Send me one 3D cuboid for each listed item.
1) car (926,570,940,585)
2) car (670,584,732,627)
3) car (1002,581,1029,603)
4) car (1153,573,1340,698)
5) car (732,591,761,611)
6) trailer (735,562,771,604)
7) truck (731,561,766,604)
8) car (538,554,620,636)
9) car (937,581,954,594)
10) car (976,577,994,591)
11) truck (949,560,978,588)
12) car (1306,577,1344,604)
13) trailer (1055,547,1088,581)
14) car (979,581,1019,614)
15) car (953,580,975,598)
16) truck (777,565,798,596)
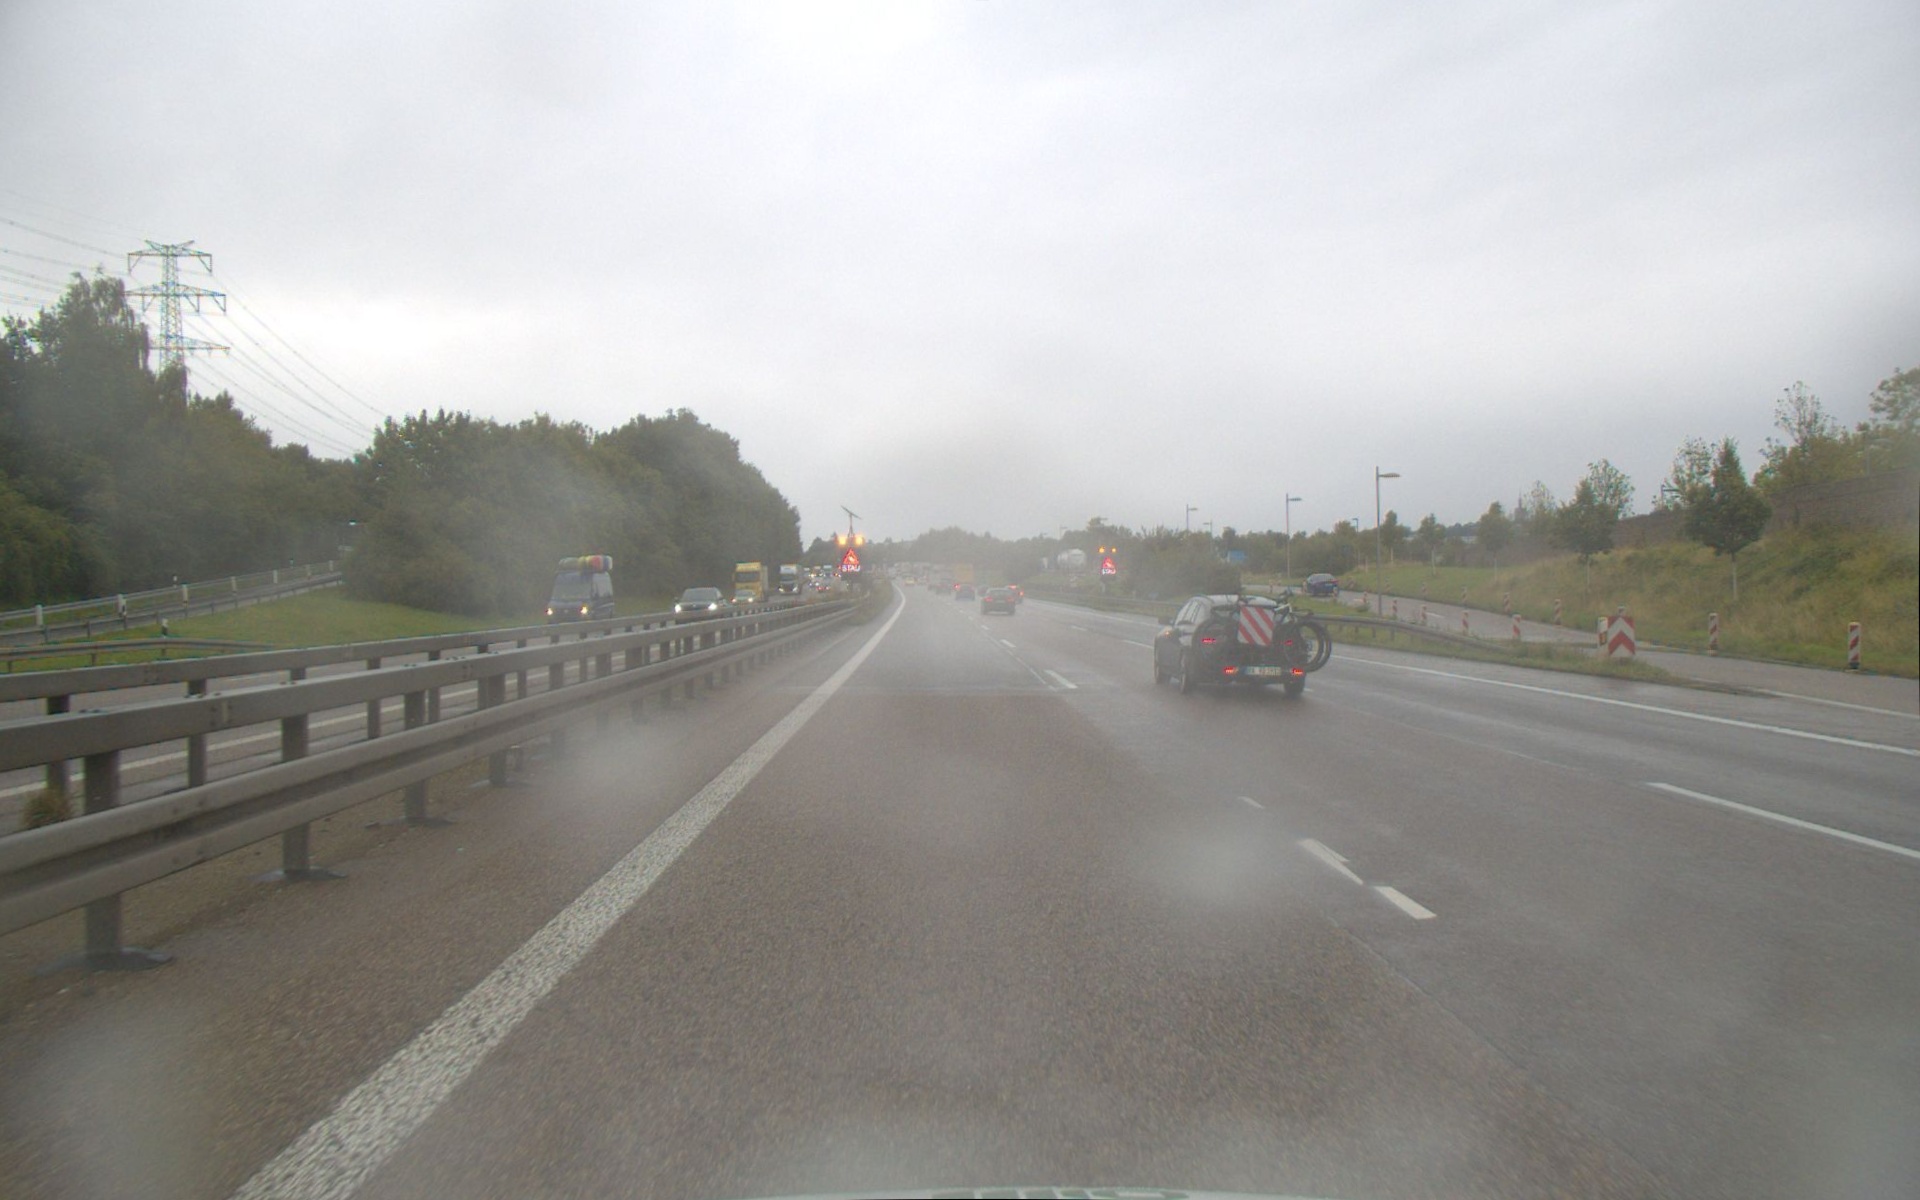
[{"bbox_3d":[-4.141,-3.437,254.196,1.953,2.243,3.999,-1,1,-2],"label":"car"},{"bbox_3d":[-10.714,0.199,68.705,1.885,1.685,4.789,-2,0,-1],"label":"car"},{"bbox_3d":[4.682,-0.691,140.065,1.953,1.791,3.999,-1,1,-2],"label":"car"},{"bbox_3d":[4.249,0.503,25.439,2.015,1.700,5.522,0,0,1],"label":"car"},{"bbox_3d":[-17.108,0.060,132.859,1.837,1.519,4.513,-2,1,-2],"label":"car"},{"bbox_3d":[-21.282,-1.792,170.637,2.706,4.126,9.197,-2,1,-2],"label":"trailer"},{"bbox_3d":[-21.094,-1.739,165.354,2.706,4.126,6.155,-2,1,-2],"label":"truck"},{"bbox_3d":[-16.743,-0.229,73.063,2.208,3.385,6.174,-2,0,-1],"label":"car"},{"bbox_3d":[-1.806,-1.548,203.655,1.953,1.657,3.999,-1,1,-2],"label":"car"},{"bbox_3d":[3.072,-1.932,203.076,1.953,1.657,3.999,-1,1,-2],"label":"car"},{"bbox_3d":[0.429,-3.961,249.907,3.845,4.051,12.235,-1,1,-2],"label":"truck"},{"bbox_3d":[24.276,-0.639,110.042,1.882,1.739,4.002,-1,0,5],"label":"car"},{"bbox_3d":[14.722,-4.725,218.674,2.925,4.228,12.951,-1,1,-2],"label":"trailer"},{"bbox_3d":[2.140,-0.159,92.080,1.953,1.791,3.999,-1,1,-2],"label":"car"},{"bbox_3d":[0.371,-1.086,157.313,1.953,1.657,3.999,-1,1,-2],"label":"car"},{"bbox_3d":[-24.327,-2.707,233.291,2.590,4.311,3.999,-1,1,-2],"label":"truck"}]
